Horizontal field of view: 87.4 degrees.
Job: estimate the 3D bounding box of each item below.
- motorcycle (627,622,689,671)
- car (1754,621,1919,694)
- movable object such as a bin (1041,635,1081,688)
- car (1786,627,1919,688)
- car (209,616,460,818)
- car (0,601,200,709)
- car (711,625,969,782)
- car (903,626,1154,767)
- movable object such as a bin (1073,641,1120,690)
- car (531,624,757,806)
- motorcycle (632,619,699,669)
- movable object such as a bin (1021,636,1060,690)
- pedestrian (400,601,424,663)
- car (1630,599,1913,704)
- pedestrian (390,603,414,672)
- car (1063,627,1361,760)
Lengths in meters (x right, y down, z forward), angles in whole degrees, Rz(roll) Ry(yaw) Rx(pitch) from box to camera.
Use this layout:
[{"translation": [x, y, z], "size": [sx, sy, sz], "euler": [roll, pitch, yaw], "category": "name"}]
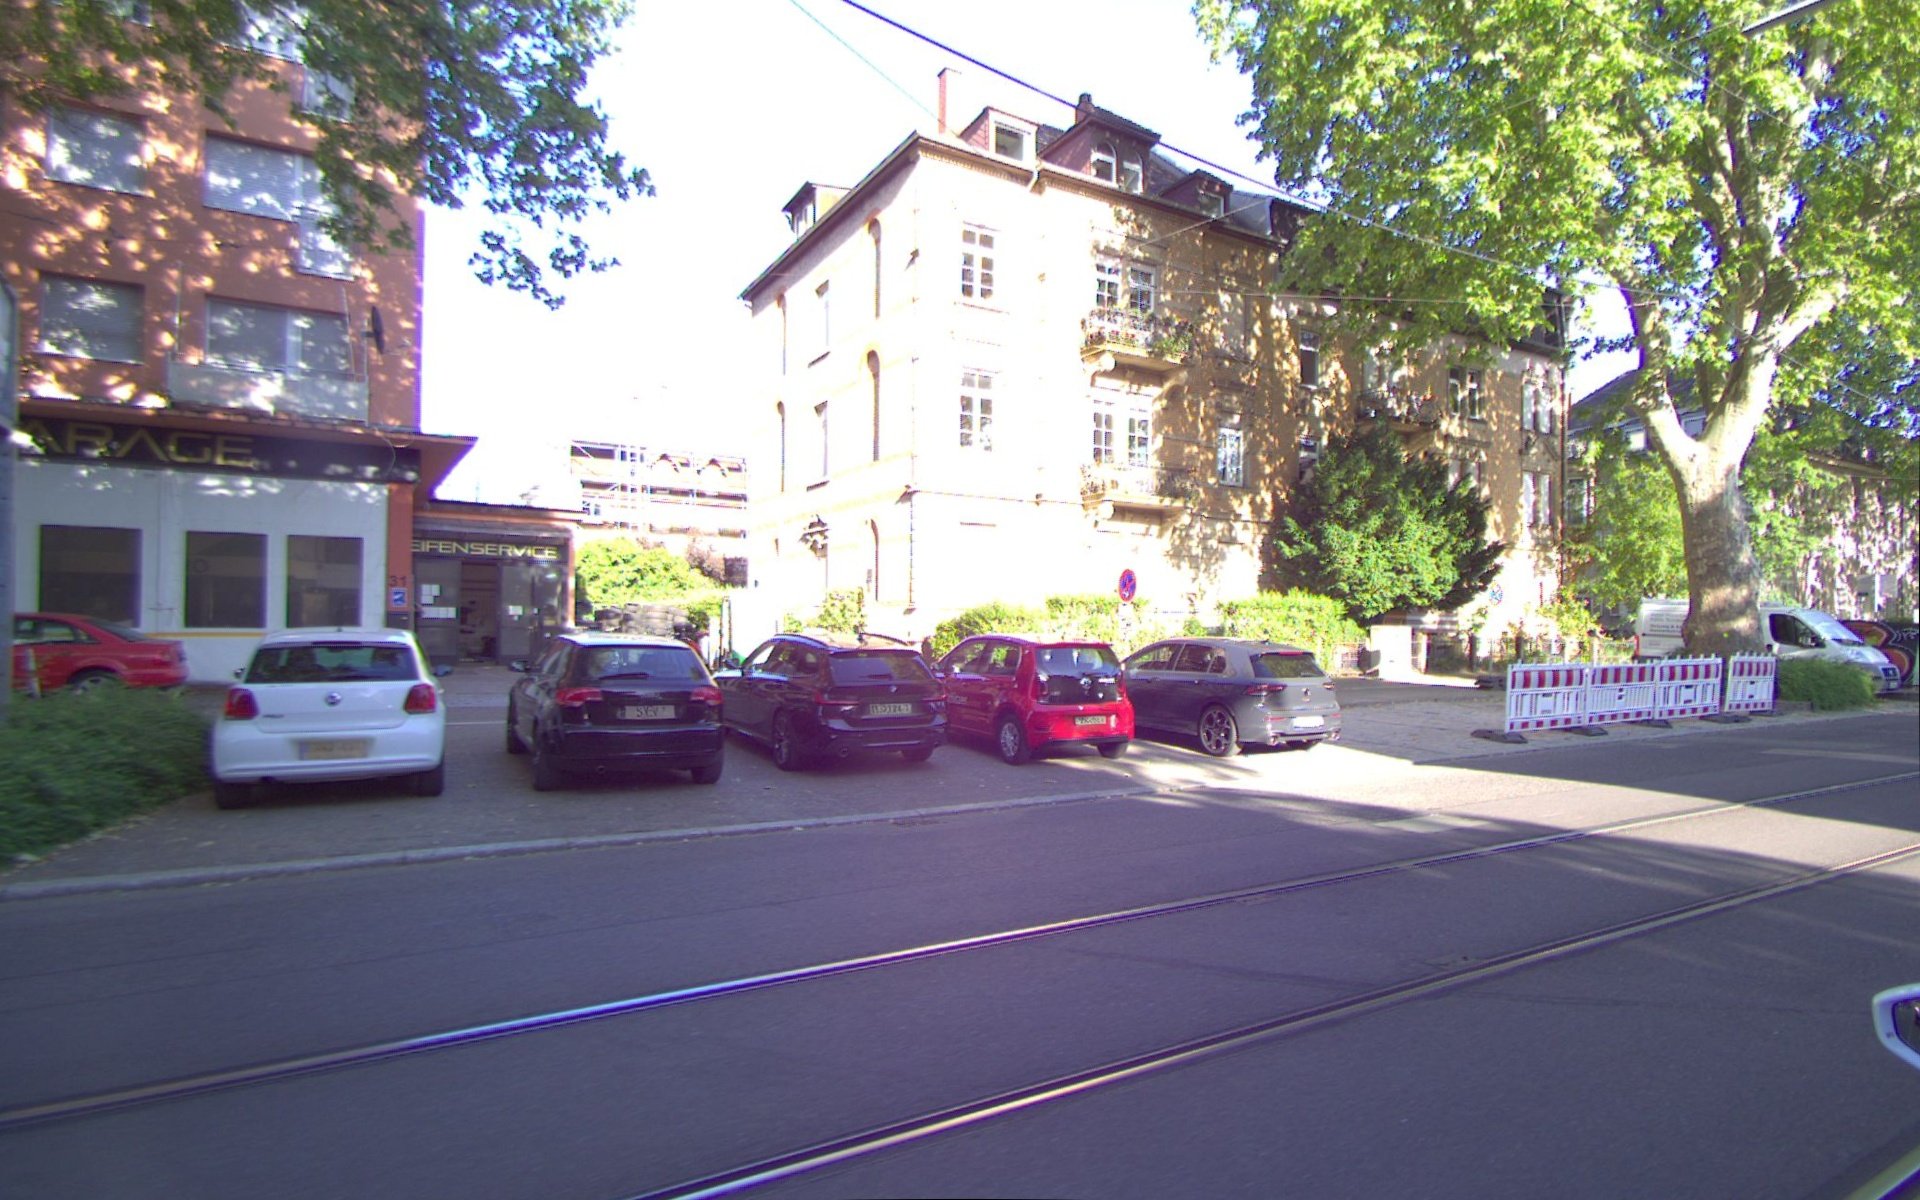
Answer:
[{"translation": [-8.386, 1.282, 27.935], "size": [1.545, 1.306, 0.590], "euler": [2, -1, -31], "category": "motorcycle"}, {"translation": [24.659, 1.530, 27.468], "size": [1.905, 1.825, 4.275], "euler": [1, -1, -32], "category": "car"}, {"translation": [2.236, 1.353, 22.241], "size": [0.554, 1.124, 0.720], "euler": [1, 0, -28], "category": "movable object such as a bin"}, {"translation": [26.807, 1.637, 28.954], "size": [1.905, 1.628, 4.275], "euler": [1, -1, -32], "category": "car"}, {"translation": [-5.725, 0.934, 9.533], "size": [1.675, 1.484, 3.406], "euler": [2, -1, -28], "category": "car"}, {"translation": [-14.003, 0.786, 15.012], "size": [3.953, 1.507, 1.939], "euler": [2, -1, -30], "category": "car"}, {"translation": [-1.643, 1.099, 12.251], "size": [1.798, 1.484, 4.067], "euler": [2, -1, -28], "category": "car"}, {"translation": [0.752, 1.131, 13.069], "size": [1.737, 1.484, 3.406], "euler": [2, -1, -28], "category": "car"}, {"translation": [3.008, 1.429, 22.176], "size": [0.727, 1.036, 0.719], "euler": [1, -1, -29], "category": "movable object such as a bin"}, {"translation": [-3.473, 1.046, 10.604], "size": [1.665, 1.484, 3.588], "euler": [2, -1, -28], "category": "car"}, {"translation": [-7.979, 1.197, 27.255], "size": [1.609, 1.321, 0.639], "euler": [2, -1, -31], "category": "motorcycle"}, {"translation": [1.751, 1.361, 21.941], "size": [0.536, 1.124, 0.721], "euler": [1, 0, -28], "category": "movable object such as a bin"}, {"translation": [-14.966, 0.866, 27.440], "size": [0.543, 1.682, 0.500], "euler": [1, 0, -31], "category": "pedestrian"}, {"translation": [19.611, 1.134, 24.553], "size": [2.063, 2.289, 5.004], "euler": [1, -1, -33], "category": "car"}, {"translation": [-14.838, 0.995, 26.695], "size": [0.514, 1.801, 0.536], "euler": [1, 0, -31], "category": "pedestrian"}, {"translation": [3.365, 1.186, 14.161], "size": [1.832, 1.484, 3.968], "euler": [2, -1, -30], "category": "car"}]
